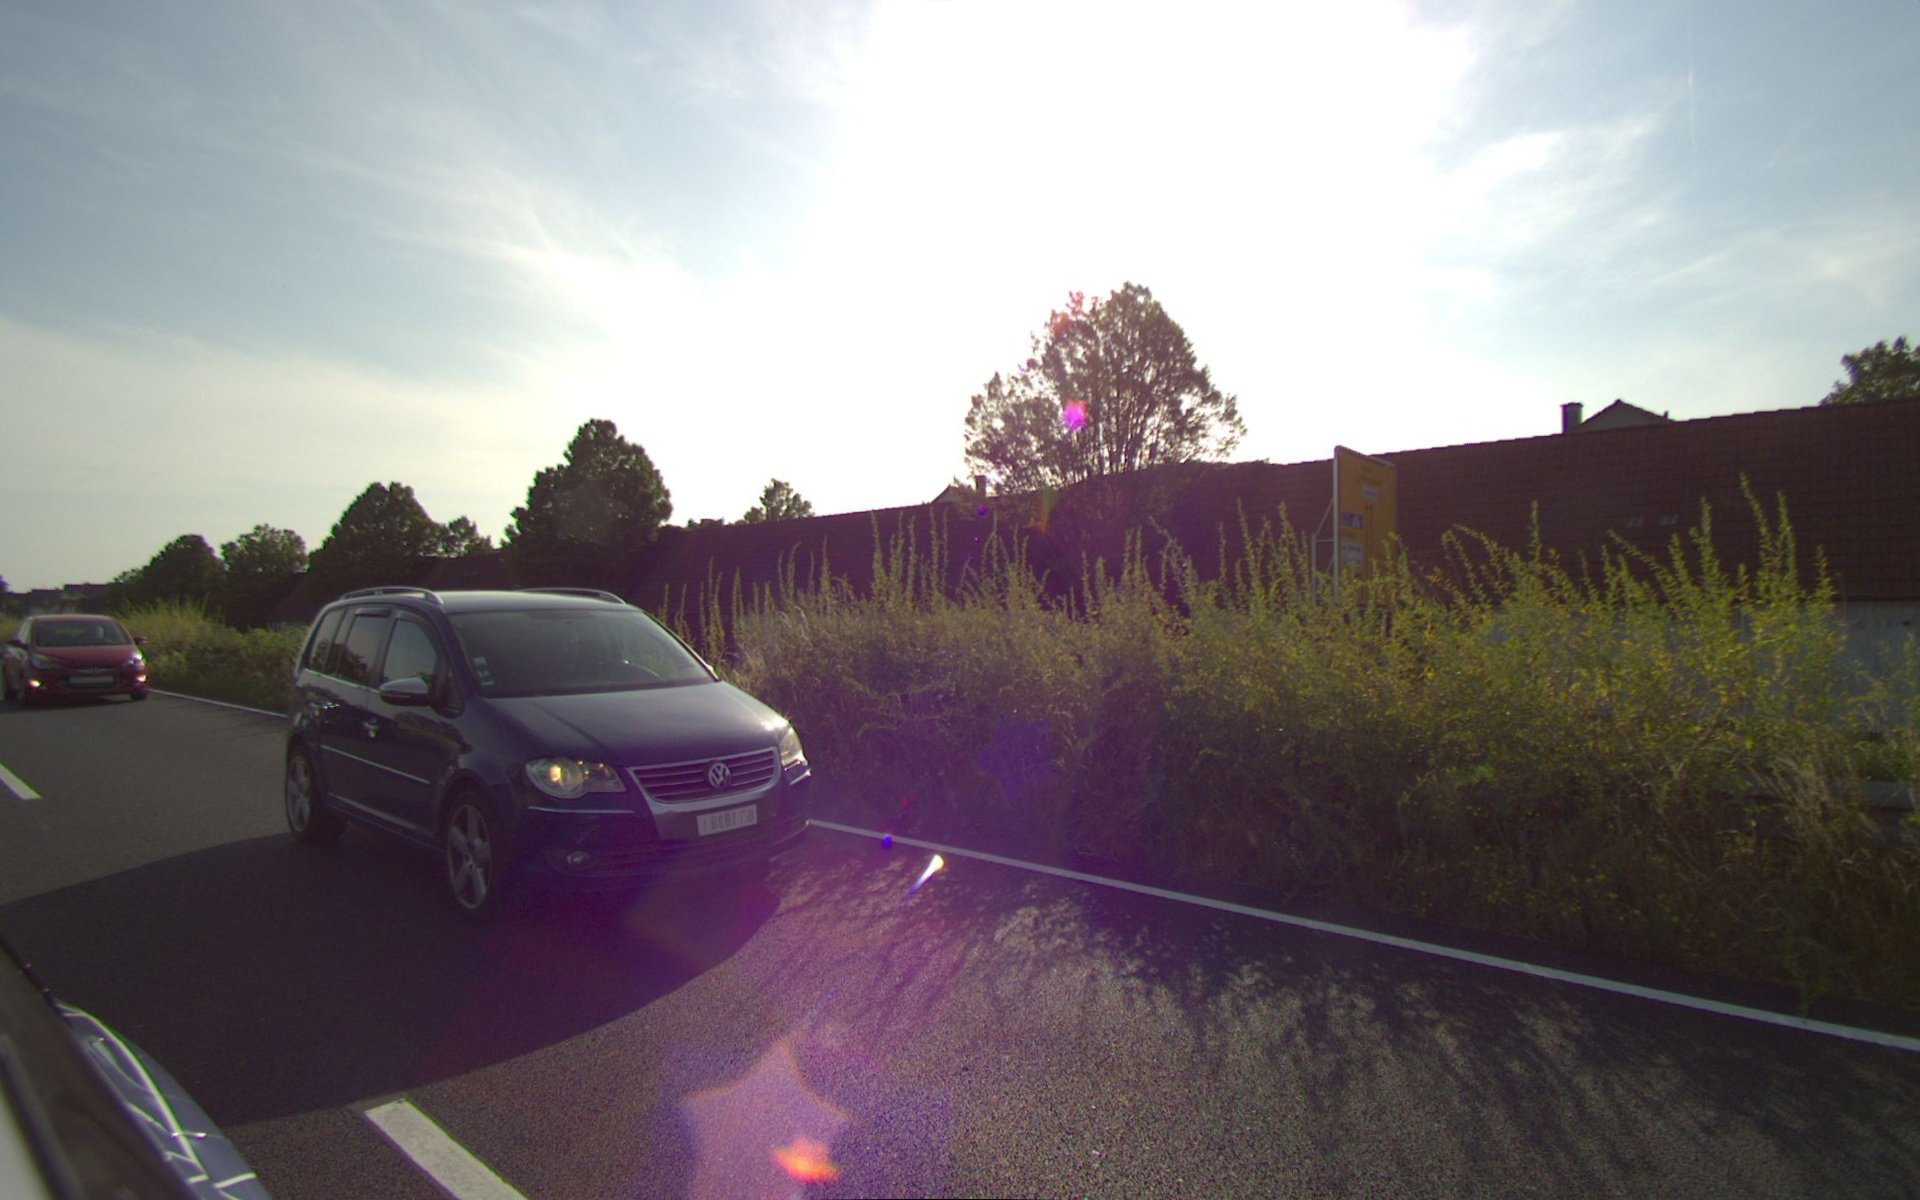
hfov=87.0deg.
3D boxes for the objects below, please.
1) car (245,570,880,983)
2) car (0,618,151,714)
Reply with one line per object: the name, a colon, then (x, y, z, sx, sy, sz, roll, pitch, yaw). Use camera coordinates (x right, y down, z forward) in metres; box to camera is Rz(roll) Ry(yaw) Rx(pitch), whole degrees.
car: (-2.734, 0.725, 6.237, 4.681, 1.634, 1.754, -1, -1, 42)
car: (-16.593, 1.130, 18.871, 3.999, 1.557, 1.725, -1, 0, 42)
